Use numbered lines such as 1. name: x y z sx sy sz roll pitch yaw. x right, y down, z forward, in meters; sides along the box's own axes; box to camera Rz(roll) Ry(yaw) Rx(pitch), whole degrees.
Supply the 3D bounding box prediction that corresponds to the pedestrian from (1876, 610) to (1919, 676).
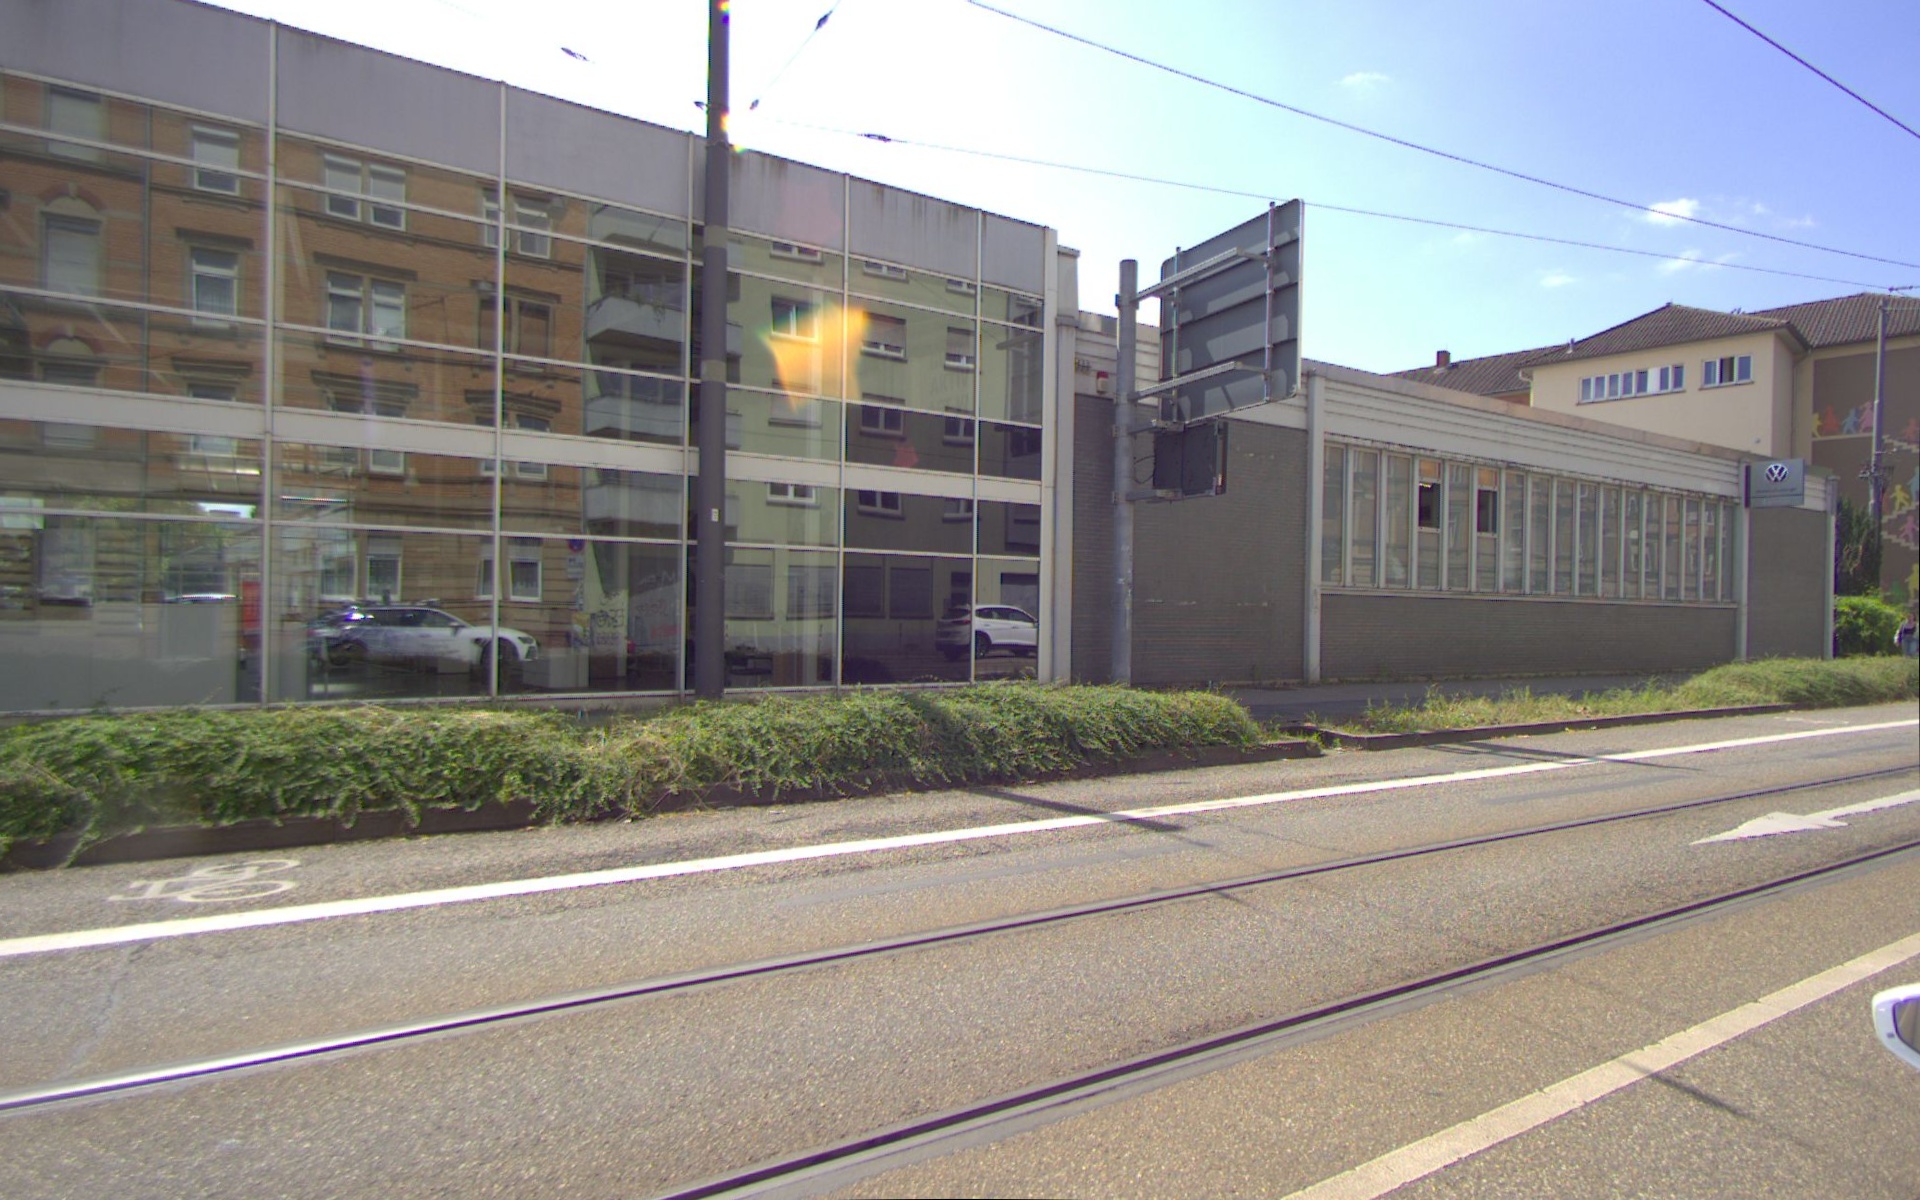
1. pedestrian: 27.763 1.259 29.584 1.068 1.890 0.876 1 -1 -30
